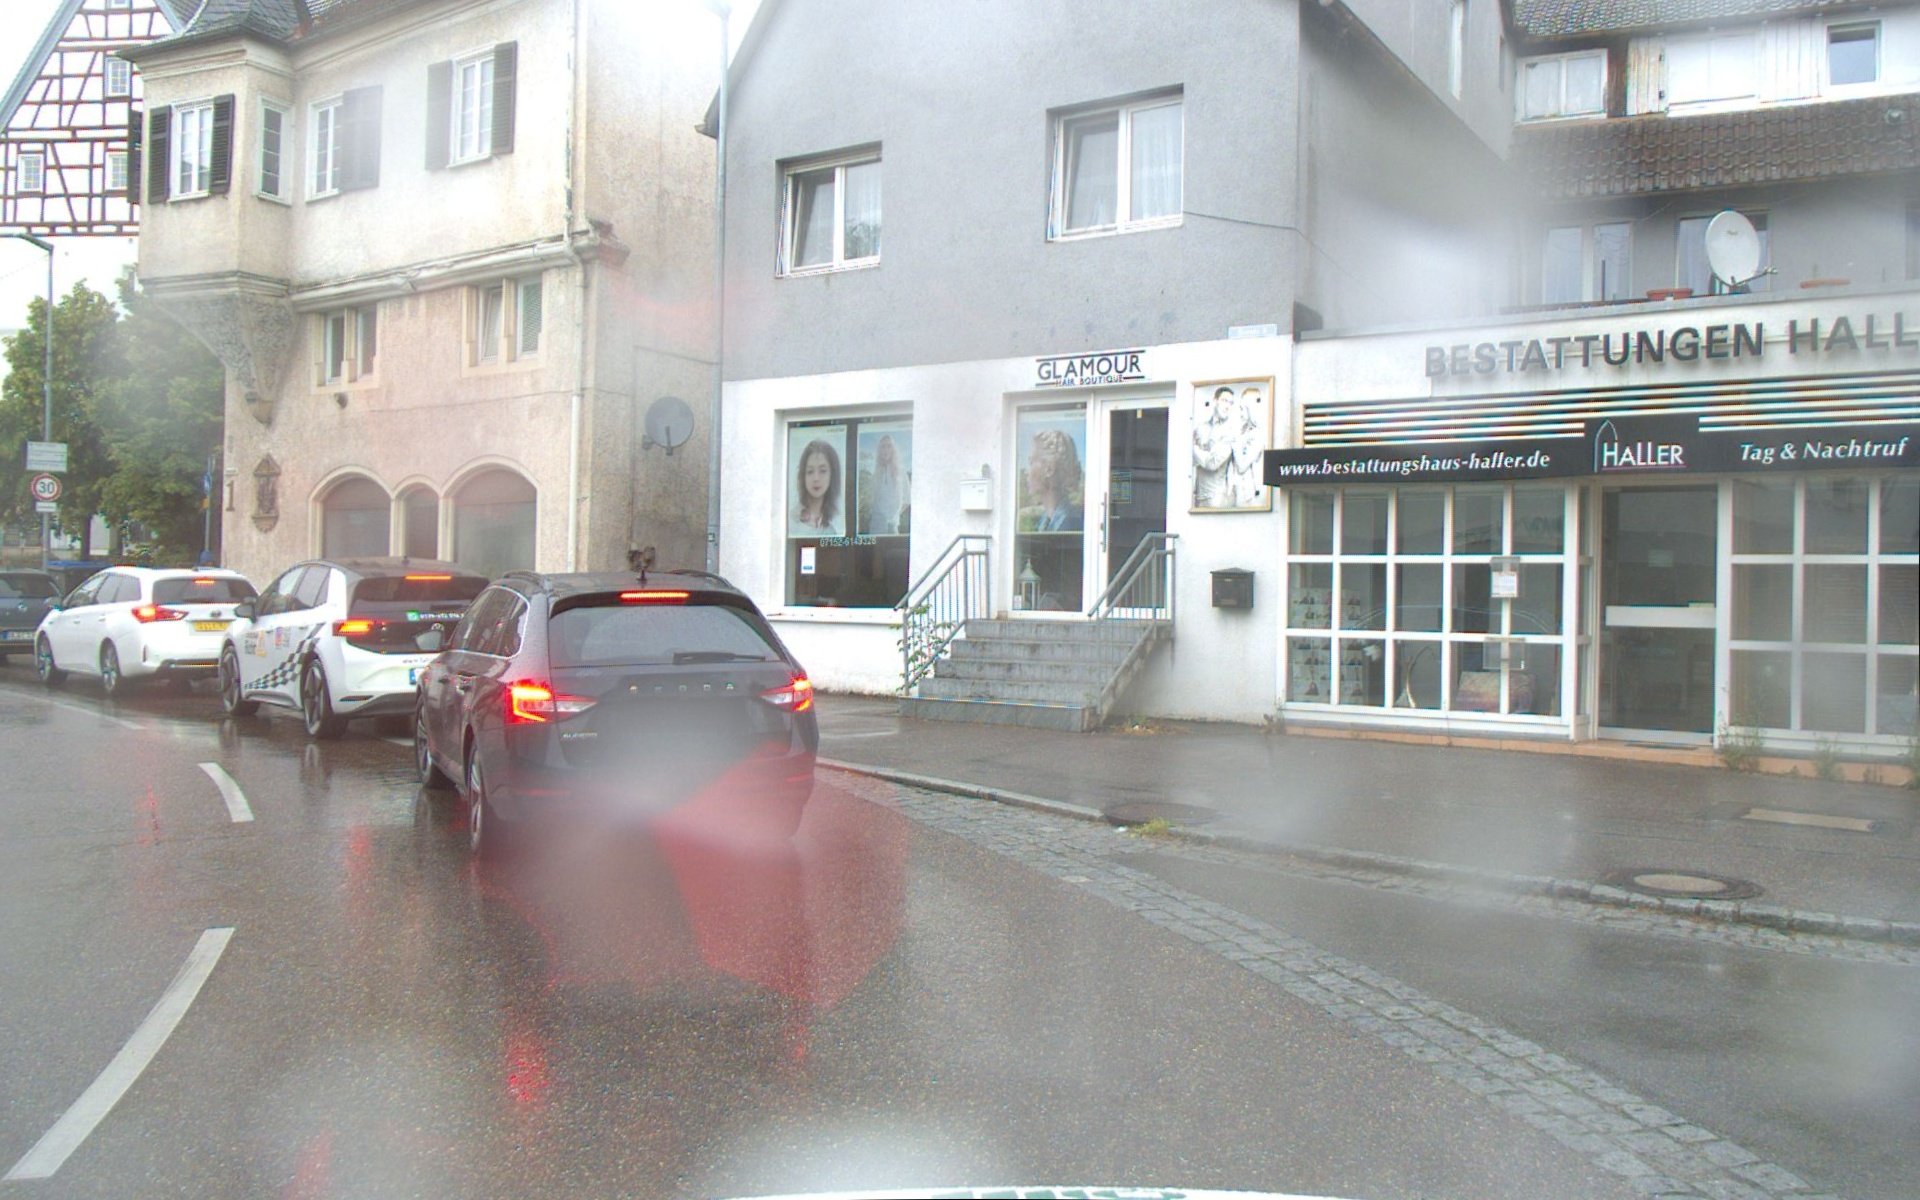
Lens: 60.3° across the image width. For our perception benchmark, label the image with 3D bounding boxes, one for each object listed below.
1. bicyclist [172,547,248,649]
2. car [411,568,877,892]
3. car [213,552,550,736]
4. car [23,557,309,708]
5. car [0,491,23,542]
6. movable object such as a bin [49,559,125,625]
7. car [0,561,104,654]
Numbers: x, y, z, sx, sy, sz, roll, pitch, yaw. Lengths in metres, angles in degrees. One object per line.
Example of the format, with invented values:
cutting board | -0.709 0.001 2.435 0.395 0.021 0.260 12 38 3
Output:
bicyclist | -11.717 -0.041 25.843 1.011 1.544 0.682 2 1 38
car | -2.117 0.566 9.894 1.861 1.473 4.326 1 1 -23
car | -5.568 0.344 15.620 1.843 1.498 3.947 2 0 -37
car | -9.726 0.322 20.109 1.877 1.624 4.255 1 1 -44
car | -38.211 -3.213 62.636 1.959 1.914 4.365 1 1 33
movable object such as a bin | -18.347 -0.168 34.743 1.149 1.336 1.168 1 1 -43
car | -14.860 0.065 25.166 3.928 1.324 1.989 2 1 41
